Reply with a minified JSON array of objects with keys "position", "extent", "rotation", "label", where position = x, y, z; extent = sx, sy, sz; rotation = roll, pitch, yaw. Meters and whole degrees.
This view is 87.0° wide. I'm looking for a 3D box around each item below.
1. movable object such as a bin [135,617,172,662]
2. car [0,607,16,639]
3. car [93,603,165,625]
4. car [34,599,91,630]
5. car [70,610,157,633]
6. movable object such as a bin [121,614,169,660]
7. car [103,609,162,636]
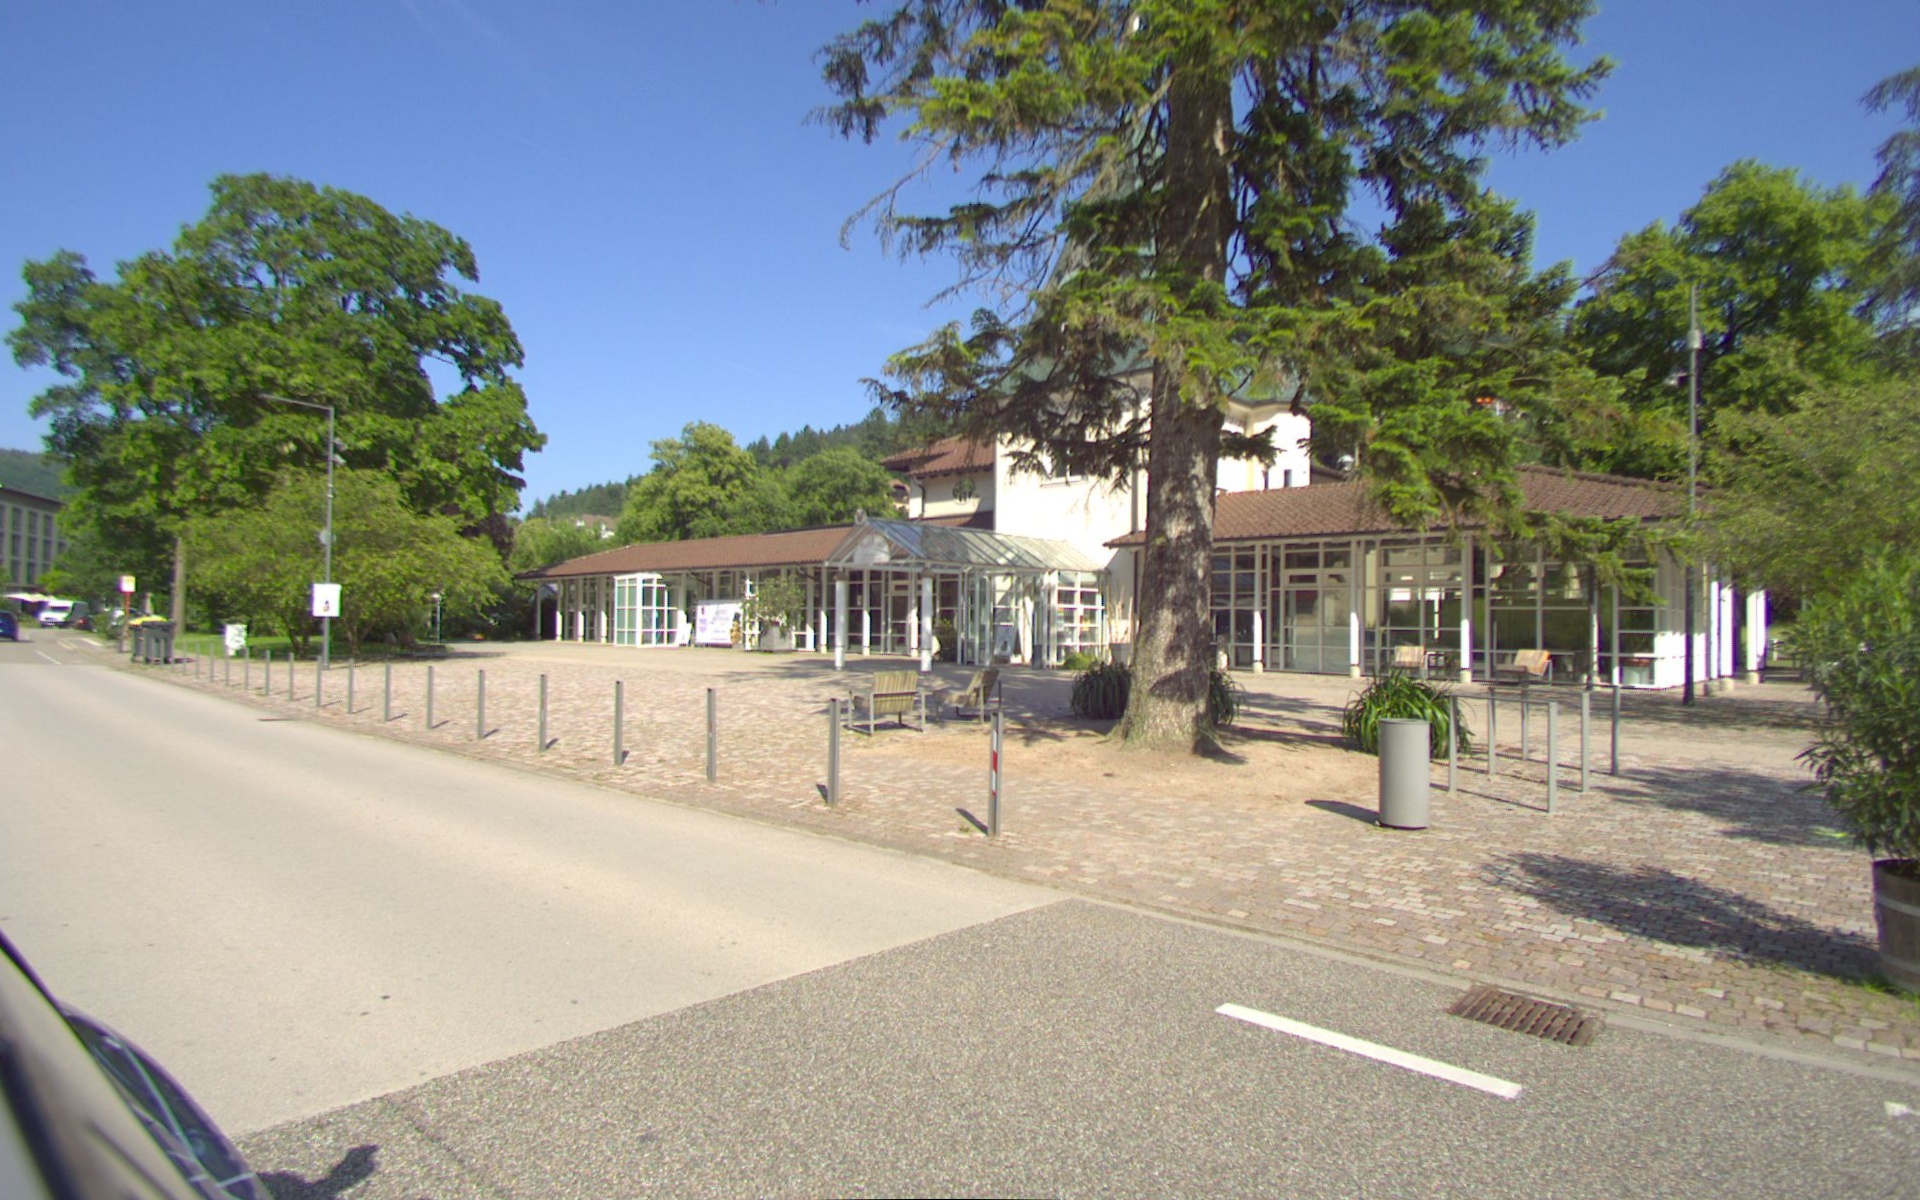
[{"position":[-25.031,1.202,31.410],"extent":[1.295,1.352,0.746],"rotation":[-1,-1,44],"label":"movable object such as a bin"},{"position":[-46.411,1.033,48.227],"extent":[4.187,1.474,1.722],"rotation":[0,-4,43],"label":"car"},{"position":[-66.635,1.135,81.225],"extent":[4.427,1.676,1.813],"rotation":[0,0,-40],"label":"car"},{"position":[-82.460,1.322,93.116],"extent":[1.759,2.812,5.932],"rotation":[0,-1,-19],"label":"car"},{"position":[-56.356,1.395,67.441],"extent":[1.712,1.442,4.231],"rotation":[0,0,41],"label":"car"},{"position":[-26.415,1.164,32.791],"extent":[1.377,1.438,1.066],"rotation":[-1,-1,44],"label":"movable object such as a bin"},{"position":[-49.383,1.300,60.454],"extent":[2.616,1.558,1.686],"rotation":[0,0,-37],"label":"car"}]
